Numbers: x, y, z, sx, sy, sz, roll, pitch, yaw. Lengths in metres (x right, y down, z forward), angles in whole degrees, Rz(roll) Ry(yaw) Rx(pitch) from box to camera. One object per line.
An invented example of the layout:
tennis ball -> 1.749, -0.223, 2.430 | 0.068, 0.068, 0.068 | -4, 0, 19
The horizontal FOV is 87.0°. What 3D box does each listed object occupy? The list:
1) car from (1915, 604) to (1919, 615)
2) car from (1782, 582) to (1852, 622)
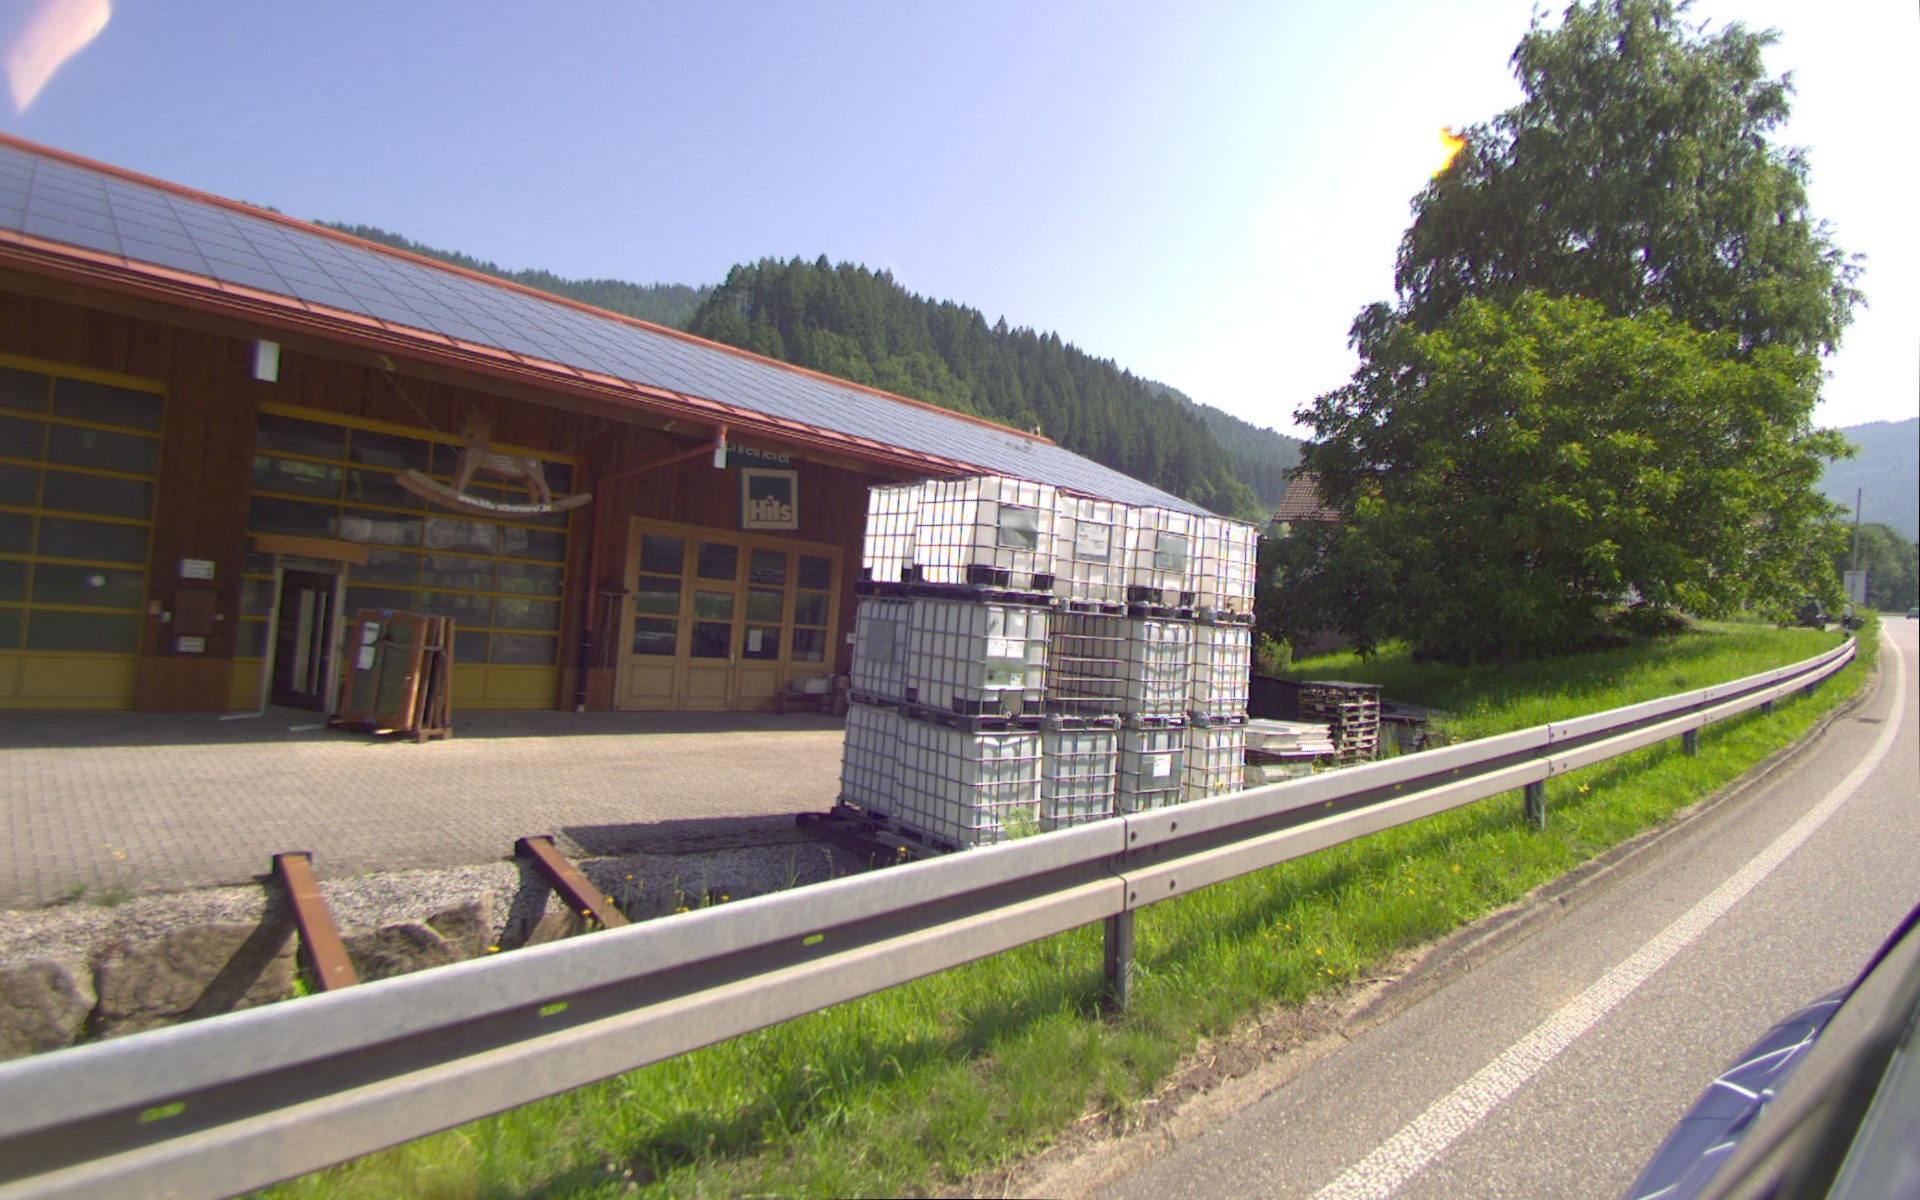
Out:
car -> 142.658, 1.405, 149.649 | 1.809, 1.528, 4.200 | 2, 1, 40
car -> 42.562, 0.118, 50.239 | 4.579, 1.835, 1.813 | 1, 3, -40
